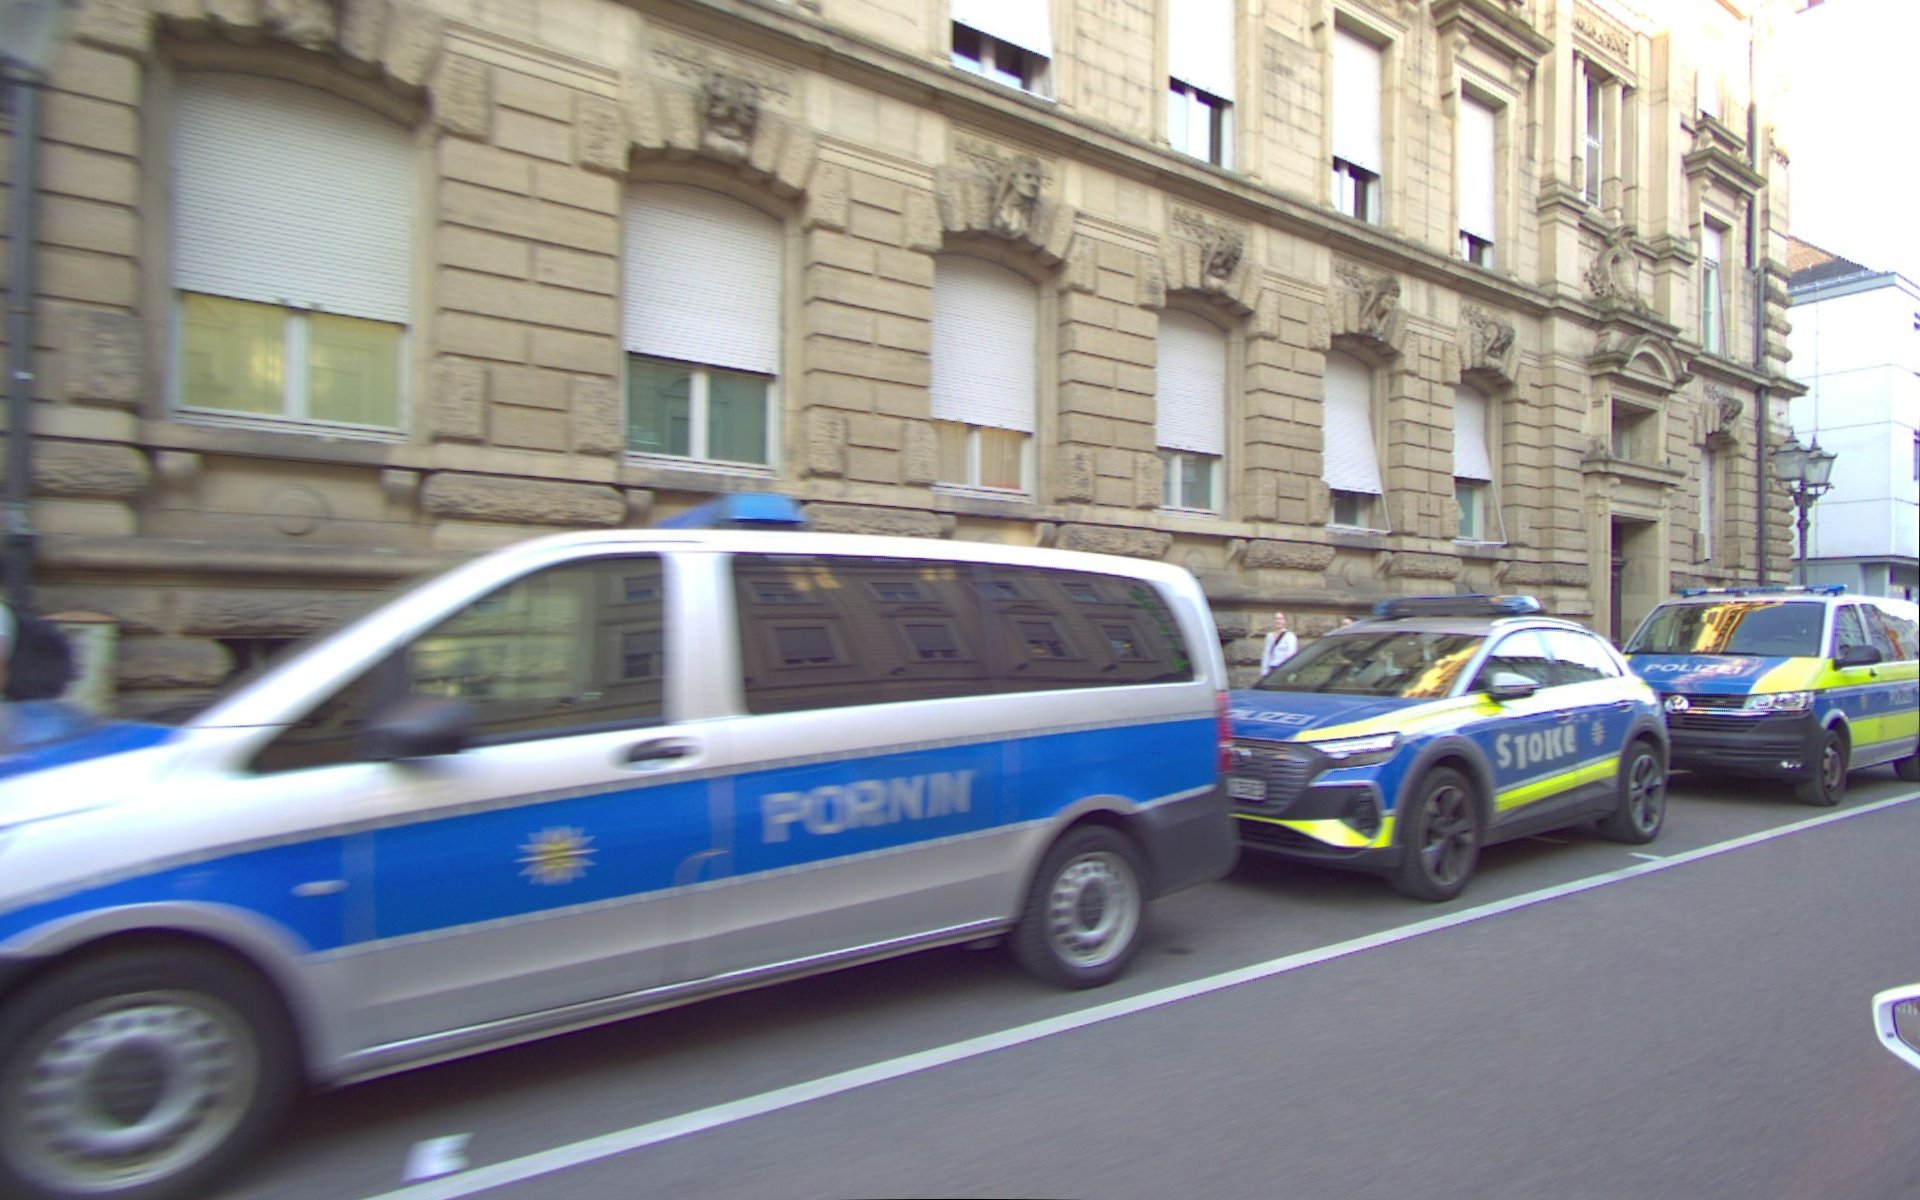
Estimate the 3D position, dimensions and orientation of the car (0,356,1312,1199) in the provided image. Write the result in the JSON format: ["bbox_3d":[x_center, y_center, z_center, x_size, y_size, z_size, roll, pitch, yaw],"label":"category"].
[{"bbox_3d":[-0.949,0.574,4.379,5.151,2.115,1.982,2,-2,-33],"label":"car"}]

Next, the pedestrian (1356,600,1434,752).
[{"bbox_3d":[5.201,0.888,12.012,0.700,1.753,0.556,1,-1,-32],"label":"pedestrian"}]

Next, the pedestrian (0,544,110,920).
[{"bbox_3d":[-5.048,0.657,5.177,0.902,1.863,0.648,1,-2,-34],"label":"pedestrian"}]

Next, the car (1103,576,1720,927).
[{"bbox_3d":[3.518,0.866,7.383,4.943,1.775,1.980,2,-2,-36],"label":"car"}]

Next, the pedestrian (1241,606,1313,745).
[{"bbox_3d":[4.155,0.971,13.168,0.695,1.753,0.604,1,-1,-32],"label":"pedestrian"}]

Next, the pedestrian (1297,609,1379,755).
[{"bbox_3d":[4.728,0.998,12.561,0.821,1.753,0.579,1,-1,-32],"label":"pedestrian"}]

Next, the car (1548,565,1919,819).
[{"bbox_3d":[8.447,0.869,10.585,4.939,2.104,1.981,2,-3,-34],"label":"car"}]

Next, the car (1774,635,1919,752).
[{"bbox_3d":[13.890,1.289,14.639,4.120,1.514,1.982,2,-2,-33],"label":"car"}]
